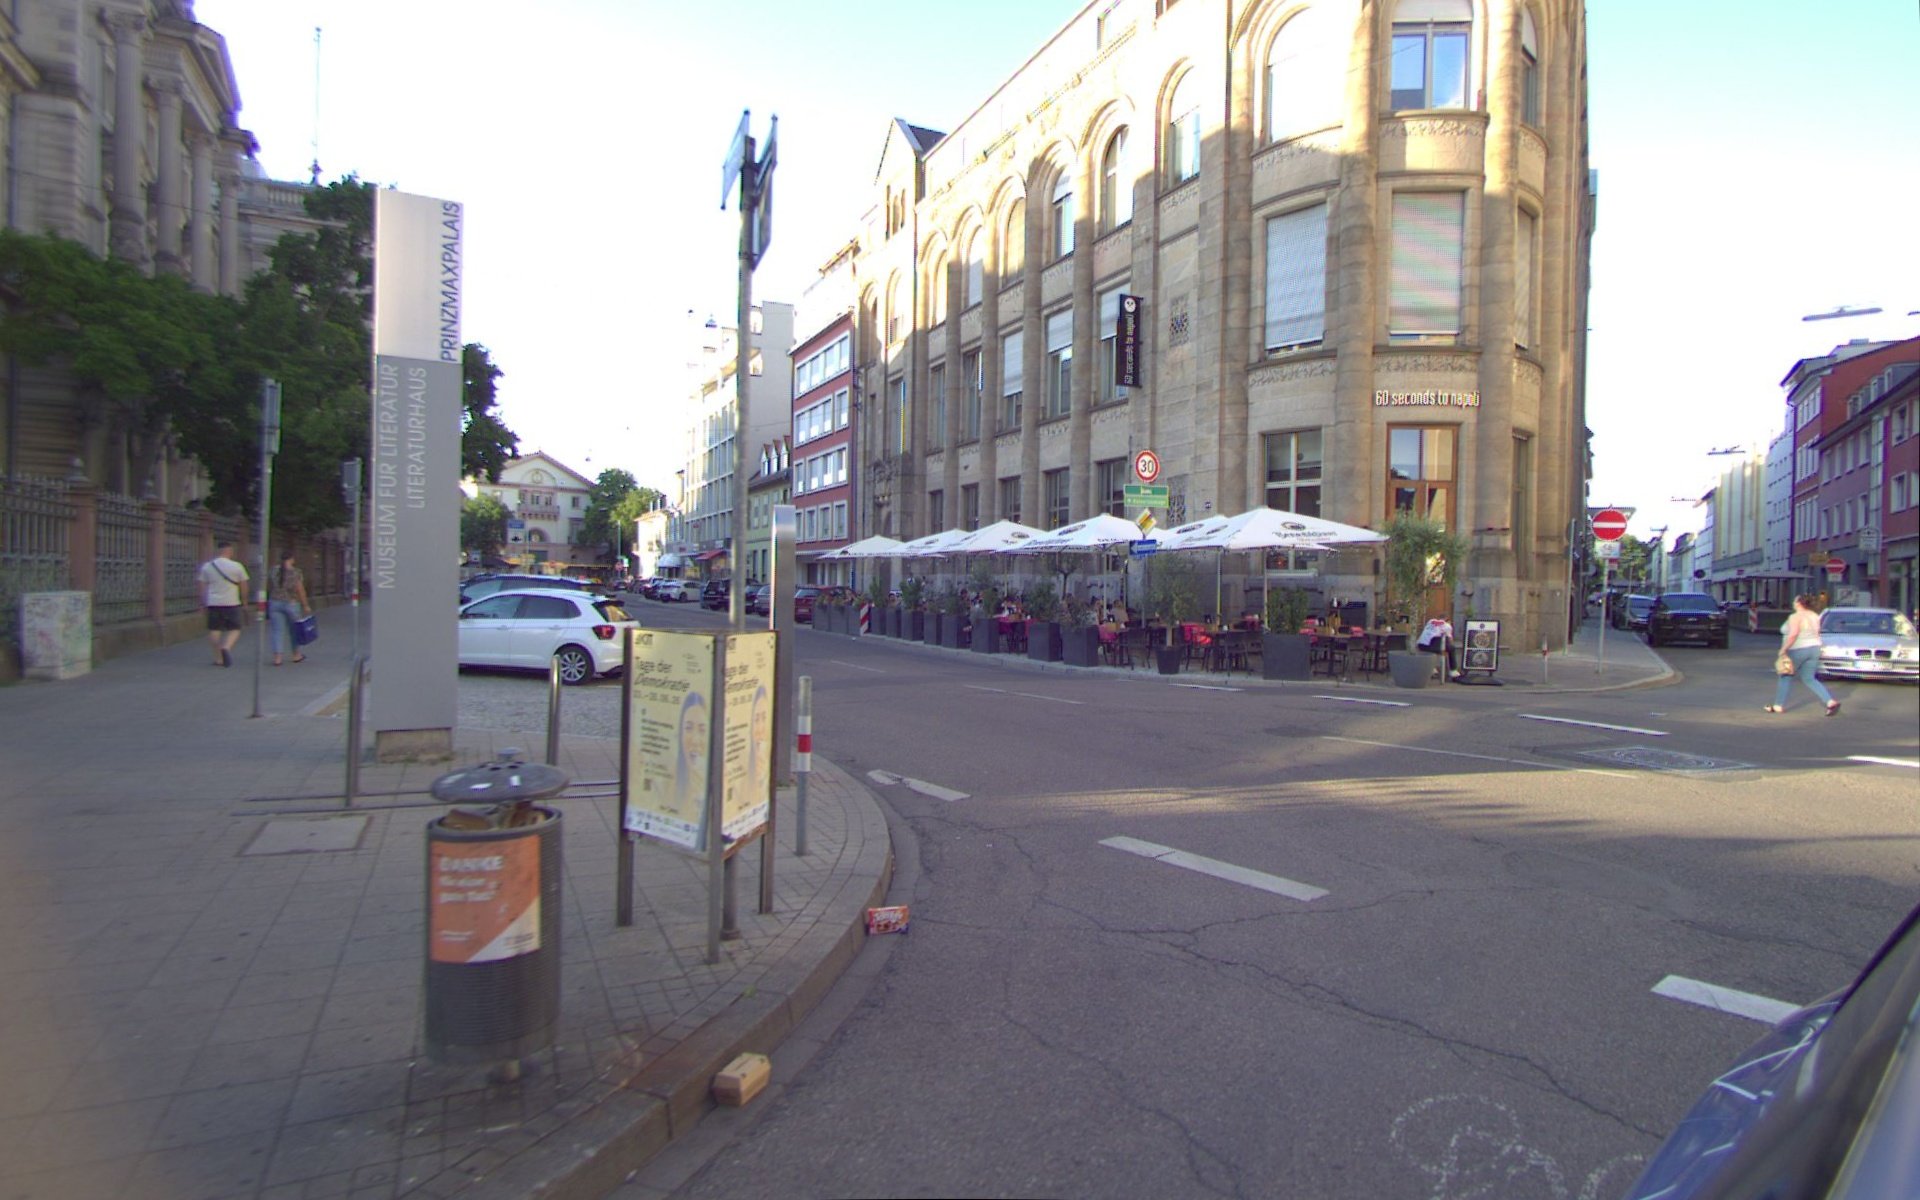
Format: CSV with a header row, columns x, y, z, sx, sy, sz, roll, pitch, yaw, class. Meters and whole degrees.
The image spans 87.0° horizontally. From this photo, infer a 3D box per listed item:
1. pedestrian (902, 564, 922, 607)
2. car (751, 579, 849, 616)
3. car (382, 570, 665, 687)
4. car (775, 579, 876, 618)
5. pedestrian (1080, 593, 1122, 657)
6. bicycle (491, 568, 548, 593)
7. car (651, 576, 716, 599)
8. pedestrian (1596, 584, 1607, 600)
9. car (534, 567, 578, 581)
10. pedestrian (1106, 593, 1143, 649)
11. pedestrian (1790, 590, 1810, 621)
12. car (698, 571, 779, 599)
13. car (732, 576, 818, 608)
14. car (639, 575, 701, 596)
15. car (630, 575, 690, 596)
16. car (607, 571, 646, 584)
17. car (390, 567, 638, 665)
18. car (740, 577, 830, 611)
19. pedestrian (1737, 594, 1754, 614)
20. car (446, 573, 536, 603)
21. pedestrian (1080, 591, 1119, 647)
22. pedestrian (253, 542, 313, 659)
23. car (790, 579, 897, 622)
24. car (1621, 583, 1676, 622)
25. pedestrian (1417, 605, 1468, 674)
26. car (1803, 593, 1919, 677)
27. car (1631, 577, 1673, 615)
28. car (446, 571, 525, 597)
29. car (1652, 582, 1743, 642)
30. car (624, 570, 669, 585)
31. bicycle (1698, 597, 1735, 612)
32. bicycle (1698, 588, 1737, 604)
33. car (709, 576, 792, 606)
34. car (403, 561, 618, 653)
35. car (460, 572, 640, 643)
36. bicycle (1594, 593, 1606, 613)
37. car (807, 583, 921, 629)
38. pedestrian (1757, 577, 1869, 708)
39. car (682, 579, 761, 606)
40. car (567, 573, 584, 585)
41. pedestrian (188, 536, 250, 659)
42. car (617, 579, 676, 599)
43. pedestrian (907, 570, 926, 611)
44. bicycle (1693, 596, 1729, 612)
x,y,z,sx,sy,sz,roll,pitch,yaw,class
-1.995,-0.613,42.122,0.617,1.751,0.598,0,1,-31,pedestrian
-6.540,-0.149,41.768,1.741,1.430,4.137,1,1,31,car
-7.088,0.425,16.690,3.840,1.464,1.754,5,1,3,car
-5.096,-0.100,38.922,1.741,1.430,4.024,1,1,31,car
2.839,0.488,20.387,0.679,1.261,0.596,1,0,25,pedestrian
-19.475,-0.869,44.709,2.255,1.104,0.717,0,1,-29,bicycle
-18.229,-0.851,66.860,1.741,1.430,4.032,1,1,31,car
53.350,-0.678,84.145,0.732,1.258,0.638,1,1,35,pedestrian
-50.329,-3.257,126.125,4.792,1.757,1.751,-1,1,-44,car
3.648,0.455,22.431,0.588,1.203,0.574,1,0,-22,pedestrian
40.820,0.266,49.194,0.606,1.491,0.543,1,1,26,pedestrian
-11.440,-0.792,52.435,1.741,1.430,4.153,1,1,31,car
-8.657,-0.403,47.626,1.741,1.430,4.099,1,1,31,car
-19.821,-1.010,69.281,1.741,1.430,3.988,1,1,31,car
-21.245,-1.036,71.763,1.741,1.430,3.966,1,1,31,car
-36.797,-2.514,111.745,3.917,1.430,1.758,0,1,-25,car
-8.419,0.269,19.329,3.927,1.544,1.754,4,1,3,car
-7.724,-0.302,44.978,1.741,1.430,3.986,1,1,31,car
43.296,0.228,55.799,0.627,1.081,0.555,1,1,26,pedestrian
-22.965,-0.603,49.620,3.917,1.430,1.758,0,1,-25,car
3.208,0.434,23.280,0.588,1.261,0.687,1,0,-22,pedestrian
-10.083,0.003,15.077,0.630,1.691,0.705,2,0,-39,pedestrian
-4.115,-0.016,36.431,1.741,1.430,4.061,1,1,31,car
31.538,0.096,46.450,1.764,1.687,3.958,2,1,30,car
8.786,0.702,18.440,0.606,1.203,0.809,1,0,44,pedestrian
17.687,0.606,19.532,1.990,1.440,4.397,1,1,38,car
34.875,-0.201,51.092,1.664,1.829,4.188,1,1,34,car
-26.379,-0.887,56.311,3.917,1.430,1.758,0,1,-25,car
24.227,0.347,33.402,1.985,1.805,4.879,1,1,32,car
-30.544,-2.199,98.585,3.917,1.430,1.758,0,1,-25,car
63.243,0.354,84.624,2.472,1.193,0.773,1,1,40,bicycle
60.939,-0.328,81.419,2.472,1.193,0.773,1,1,40,bicycle
-10.249,-0.458,49.825,1.741,1.430,4.061,1,1,31,car
-9.627,0.117,21.792,3.936,1.742,1.750,2,1,11,car
-10.031,0.131,24.803,3.948,1.628,1.745,1,1,19,car
38.452,0.183,60.773,0.517,1.103,1.731,6,3,32,bicycle
-3.139,0.148,33.722,1.741,1.430,4.024,1,1,31,car
10.982,0.525,13.061,0.790,1.633,0.734,1,1,5,pedestrian
-13.149,-0.460,55.918,1.900,1.430,4.153,1,1,31,car
-45.563,-2.493,119.791,1.719,1.430,4.008,0,1,-24,car
-10.517,-0.037,14.361,0.630,1.691,0.705,2,0,-39,pedestrian
-22.748,-0.817,73.481,1.741,1.430,3.966,1,1,31,car
-1.884,-0.399,43.802,0.585,1.751,0.630,0,1,-29,pedestrian
64.620,0.319,87.114,2.472,1.347,0.773,1,1,40,bicycle
